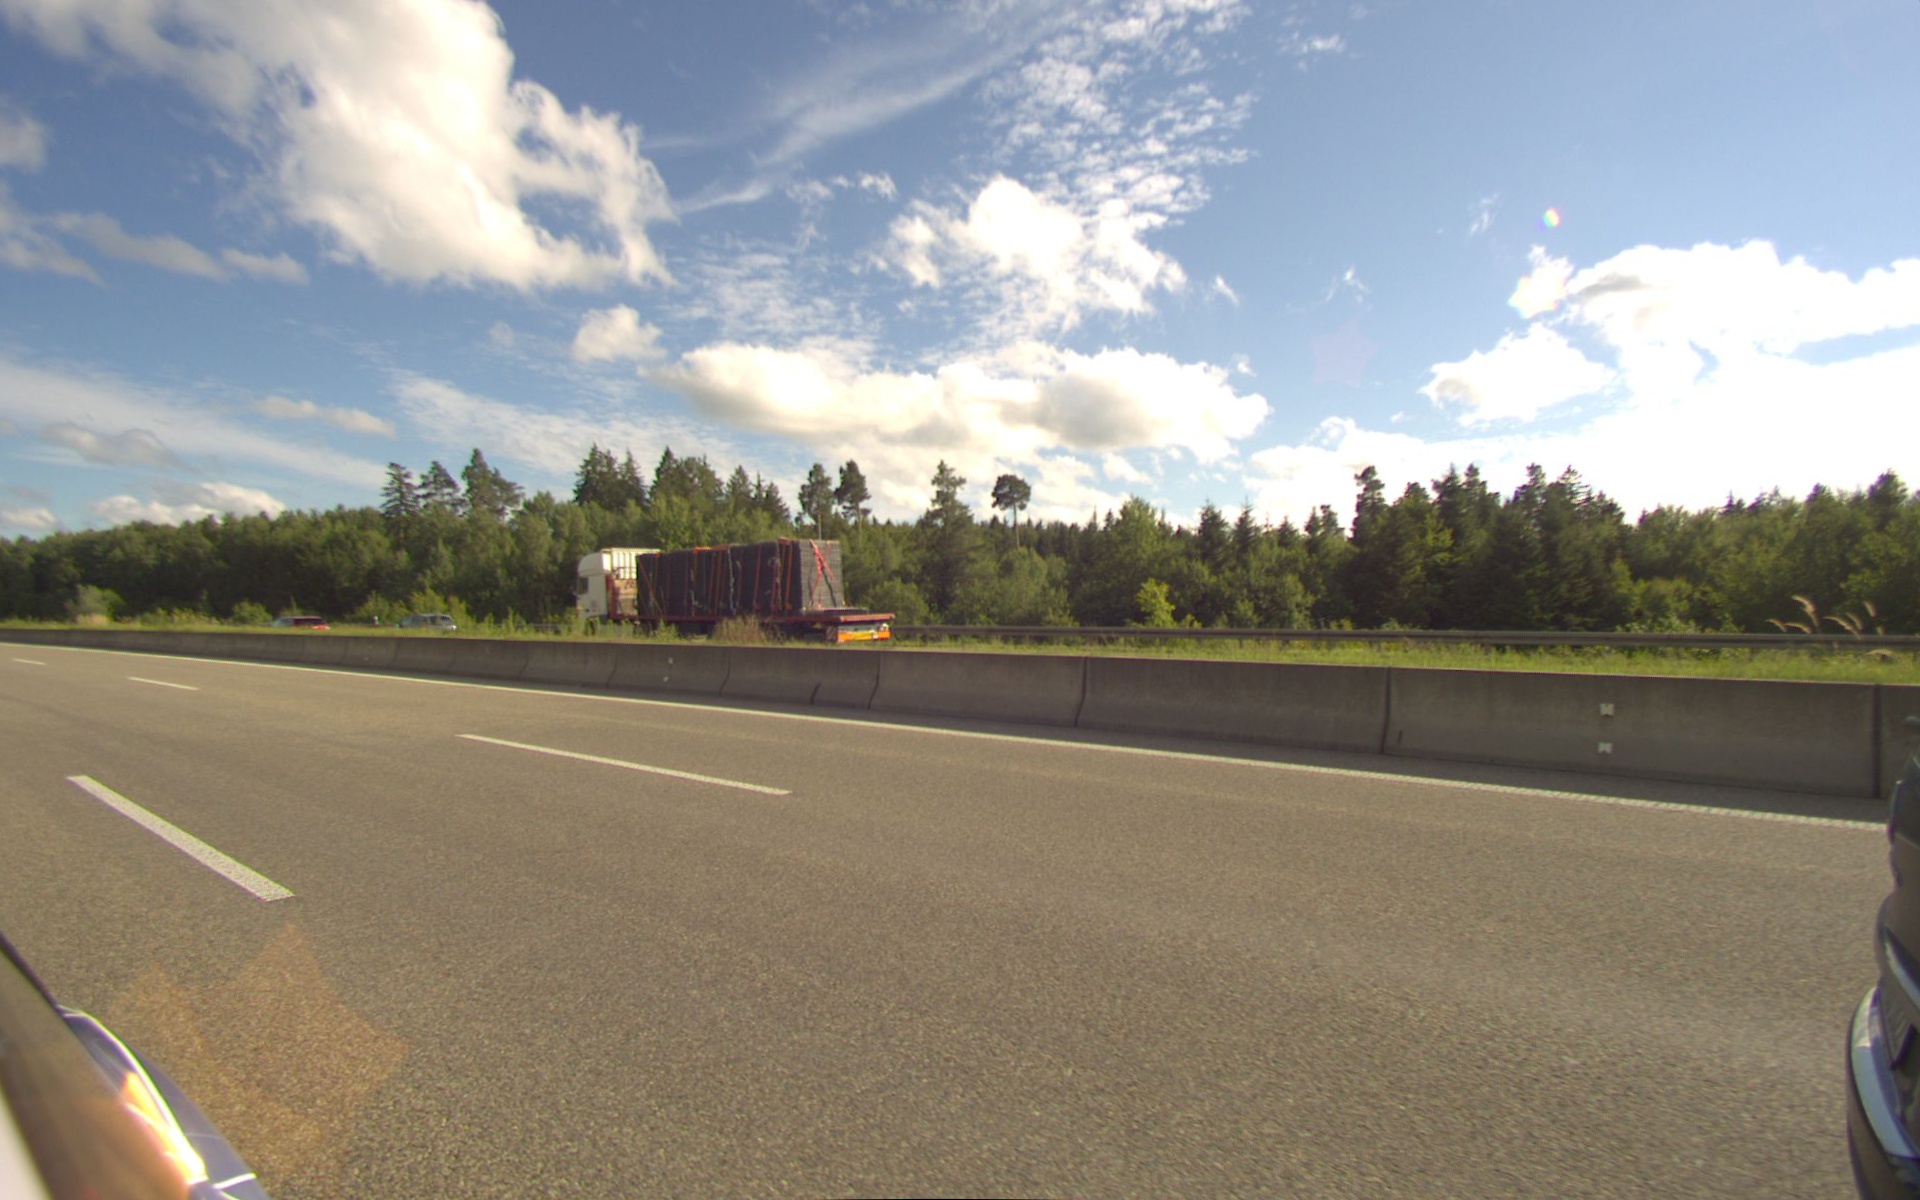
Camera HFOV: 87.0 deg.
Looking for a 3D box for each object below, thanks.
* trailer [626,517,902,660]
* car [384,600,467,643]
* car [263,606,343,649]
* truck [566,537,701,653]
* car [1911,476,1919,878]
[{"bbox_3d":[-7.414,-0.267,36.280,12.041,4.425,2.774,-1,-1,40],"label":"trailer"},{"bbox_3d":[-23.788,0.943,45.015,3.998,1.816,1.973,-1,-1,41],"label":"car"},{"bbox_3d":[-29.205,1.198,44.939,3.998,1.816,1.973,-1,-1,41],"label":"car"},{"bbox_3d":[-13.390,-0.140,41.370,5.460,4.425,2.774,-1,-1,40],"label":"truck"},{"bbox_3d":[3.586,0.527,0.409,4.526,1.720,1.973,-1,-1,41],"label":"car"}]
